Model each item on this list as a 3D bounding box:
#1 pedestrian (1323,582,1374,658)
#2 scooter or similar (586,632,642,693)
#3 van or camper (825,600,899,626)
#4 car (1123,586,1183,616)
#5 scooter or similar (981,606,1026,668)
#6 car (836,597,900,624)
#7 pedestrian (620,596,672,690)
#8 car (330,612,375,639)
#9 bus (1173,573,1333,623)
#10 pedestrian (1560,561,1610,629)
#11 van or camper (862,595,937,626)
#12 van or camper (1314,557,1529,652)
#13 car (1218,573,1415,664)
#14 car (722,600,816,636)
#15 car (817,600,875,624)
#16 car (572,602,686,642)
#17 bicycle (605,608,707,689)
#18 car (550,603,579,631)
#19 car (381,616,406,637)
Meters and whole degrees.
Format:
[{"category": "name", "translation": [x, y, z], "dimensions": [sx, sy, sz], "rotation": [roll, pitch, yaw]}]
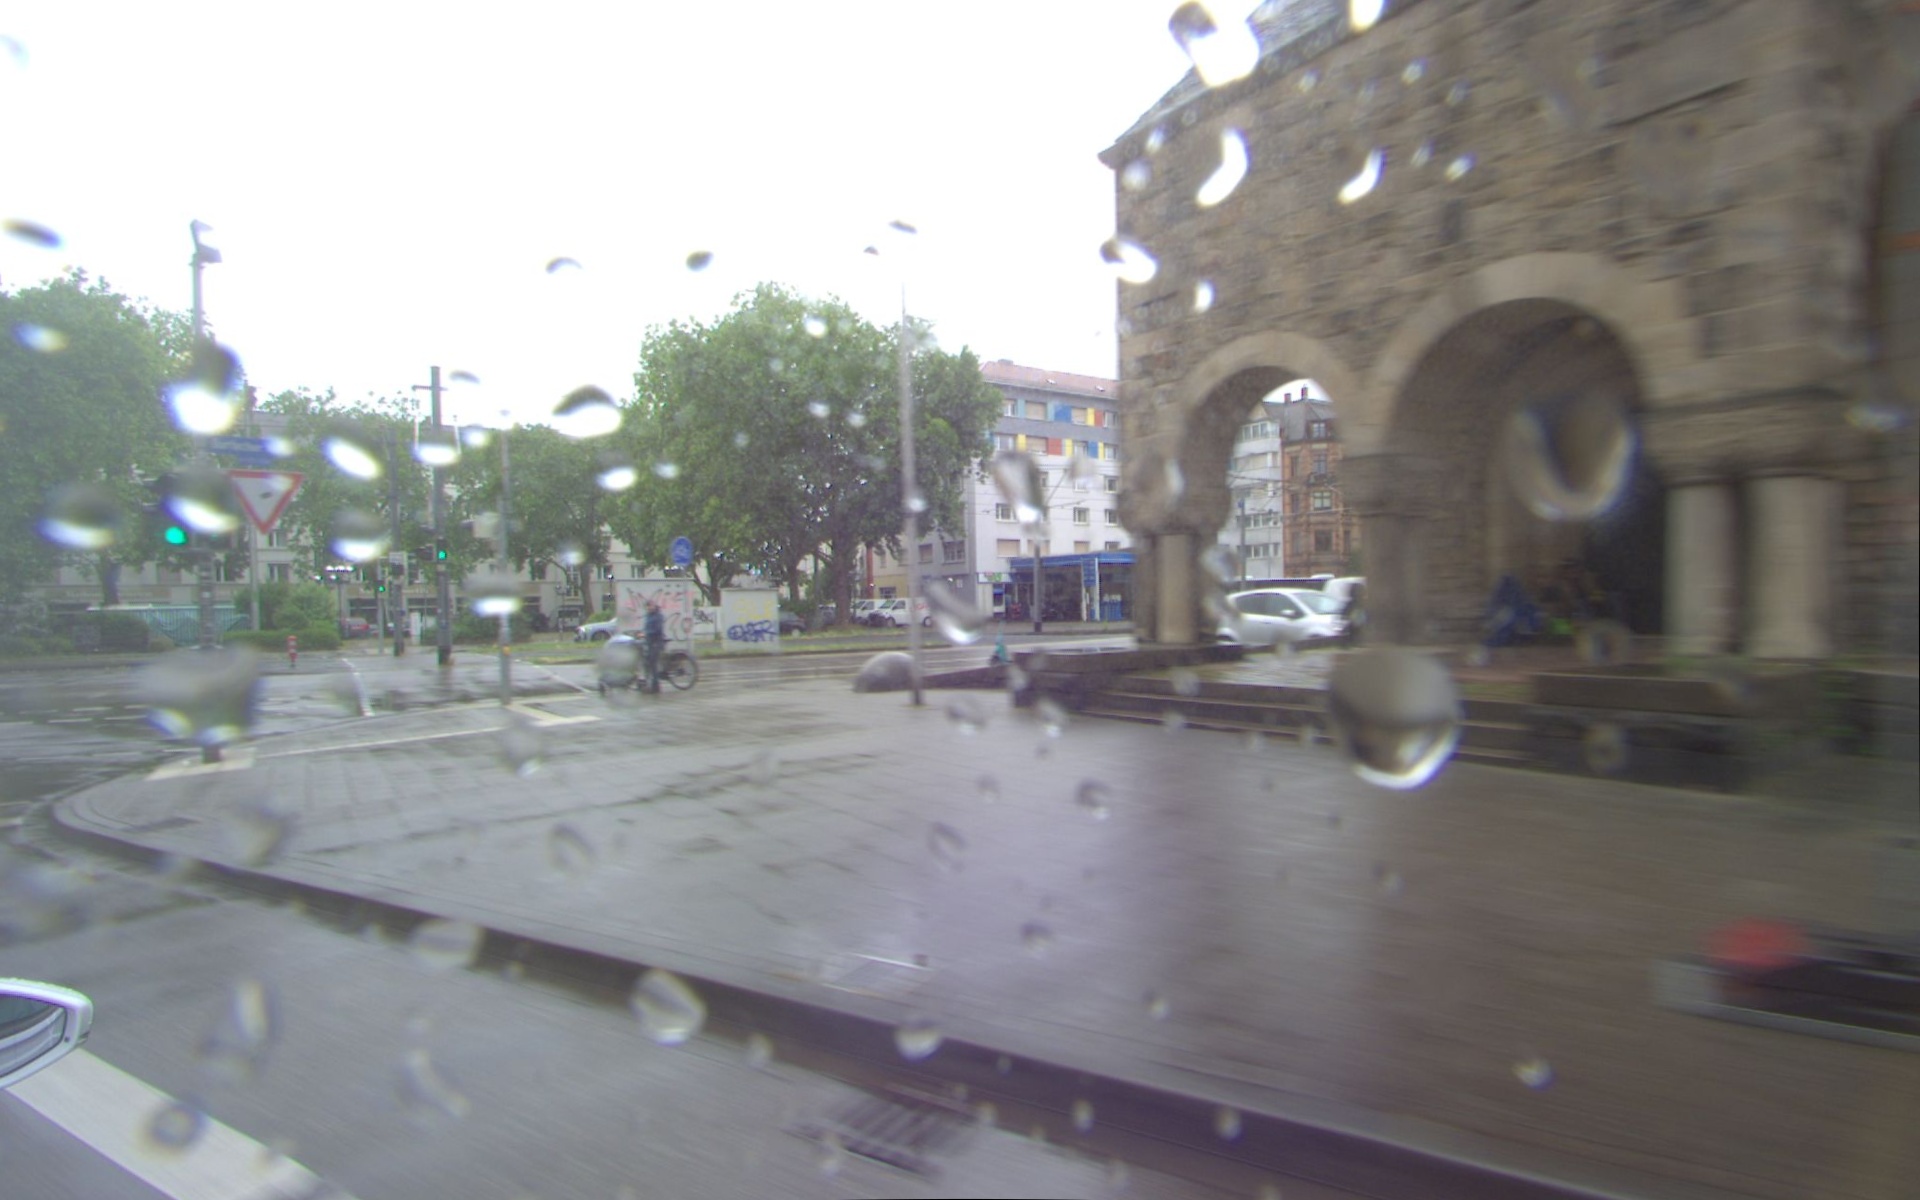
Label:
[{"category": "pedestrian", "translation": [4.723, 0.240, 12.180], "dimensions": [0.451, 0.896, 0.393], "rotation": [-2, 1, -38]}, {"category": "scooter or similar", "translation": [-6.290, 1.118, 18.214], "dimensions": [0.912, 1.062, 0.511], "rotation": [0, 1, 35]}, {"category": "van or camper", "translation": [-6.600, 0.851, 67.745], "dimensions": [4.615, 1.620, 1.984], "rotation": [-1, 0, -38]}, {"category": "car", "translation": [13.739, 0.114, 71.497], "dimensions": [1.974, 2.040, 3.973], "rotation": [-1, 0, -35]}, {"category": "scooter or similar", "translation": [1.015, 0.855, 23.411], "dimensions": [1.089, 1.406, 0.284], "rotation": [-2, 1, -36]}, {"category": "car", "translation": [-6.458, 0.741, 70.782], "dimensions": [4.210, 1.802, 1.725], "rotation": [-2, 1, -38]}, {"category": "pedestrian", "translation": [-5.774, 0.769, 18.424], "dimensions": [0.680, 1.686, 0.601], "rotation": [0, 1, 35]}, {"category": "car", "translation": [-37.745, 1.587, 62.179], "dimensions": [1.650, 1.541, 3.645], "rotation": [-2, 0, -43]}, {"category": "bus", "translation": [20.133, -0.216, 68.374], "dimensions": [11.921, 3.155, 2.879], "rotation": [-1, 1, -29]}, {"category": "pedestrian", "translation": [8.445, -0.062, 13.534], "dimensions": [0.391, 0.896, 0.453], "rotation": [-2, 1, -35]}, {"category": "van or camper", "translation": [-3.984, 0.681, 66.060], "dimensions": [4.615, 1.940, 1.984], "rotation": [-1, 1, -38]}, {"category": "van or camper", "translation": [9.937, 0.150, 21.837], "dimensions": [1.627, 1.749, 3.908], "rotation": [-2, -3, -34]}, {"category": "car", "translation": [7.079, 0.420, 20.170], "dimensions": [1.712, 1.593, 3.343], "rotation": [-1, -3, -31]}, {"category": "car", "translation": [-9.227, 0.828, 48.592], "dimensions": [4.124, 1.621, 1.766], "rotation": [-1, 1, -35]}, {"category": "car", "translation": [-8.499, 0.897, 74.835], "dimensions": [3.946, 1.611, 1.662], "rotation": [-2, 1, -34]}, {"category": "car", "translation": [-14.734, 0.965, 44.708], "dimensions": [4.496, 1.621, 1.780], "rotation": [-1, 1, -35]}, {"category": "bicycle", "translation": [-5.749, 0.910, 18.933], "dimensions": [1.907, 1.486, 0.532], "rotation": [-1, 1, 23]}, {"category": "car", "translation": [-34.418, 1.473, 87.061], "dimensions": [1.533, 2.231, 4.076], "rotation": [-2, -2, -33]}, {"category": "car", "translation": [-45.572, 2.129, 80.510], "dimensions": [1.533, 1.485, 3.348], "rotation": [-2, -2, -33]}]
